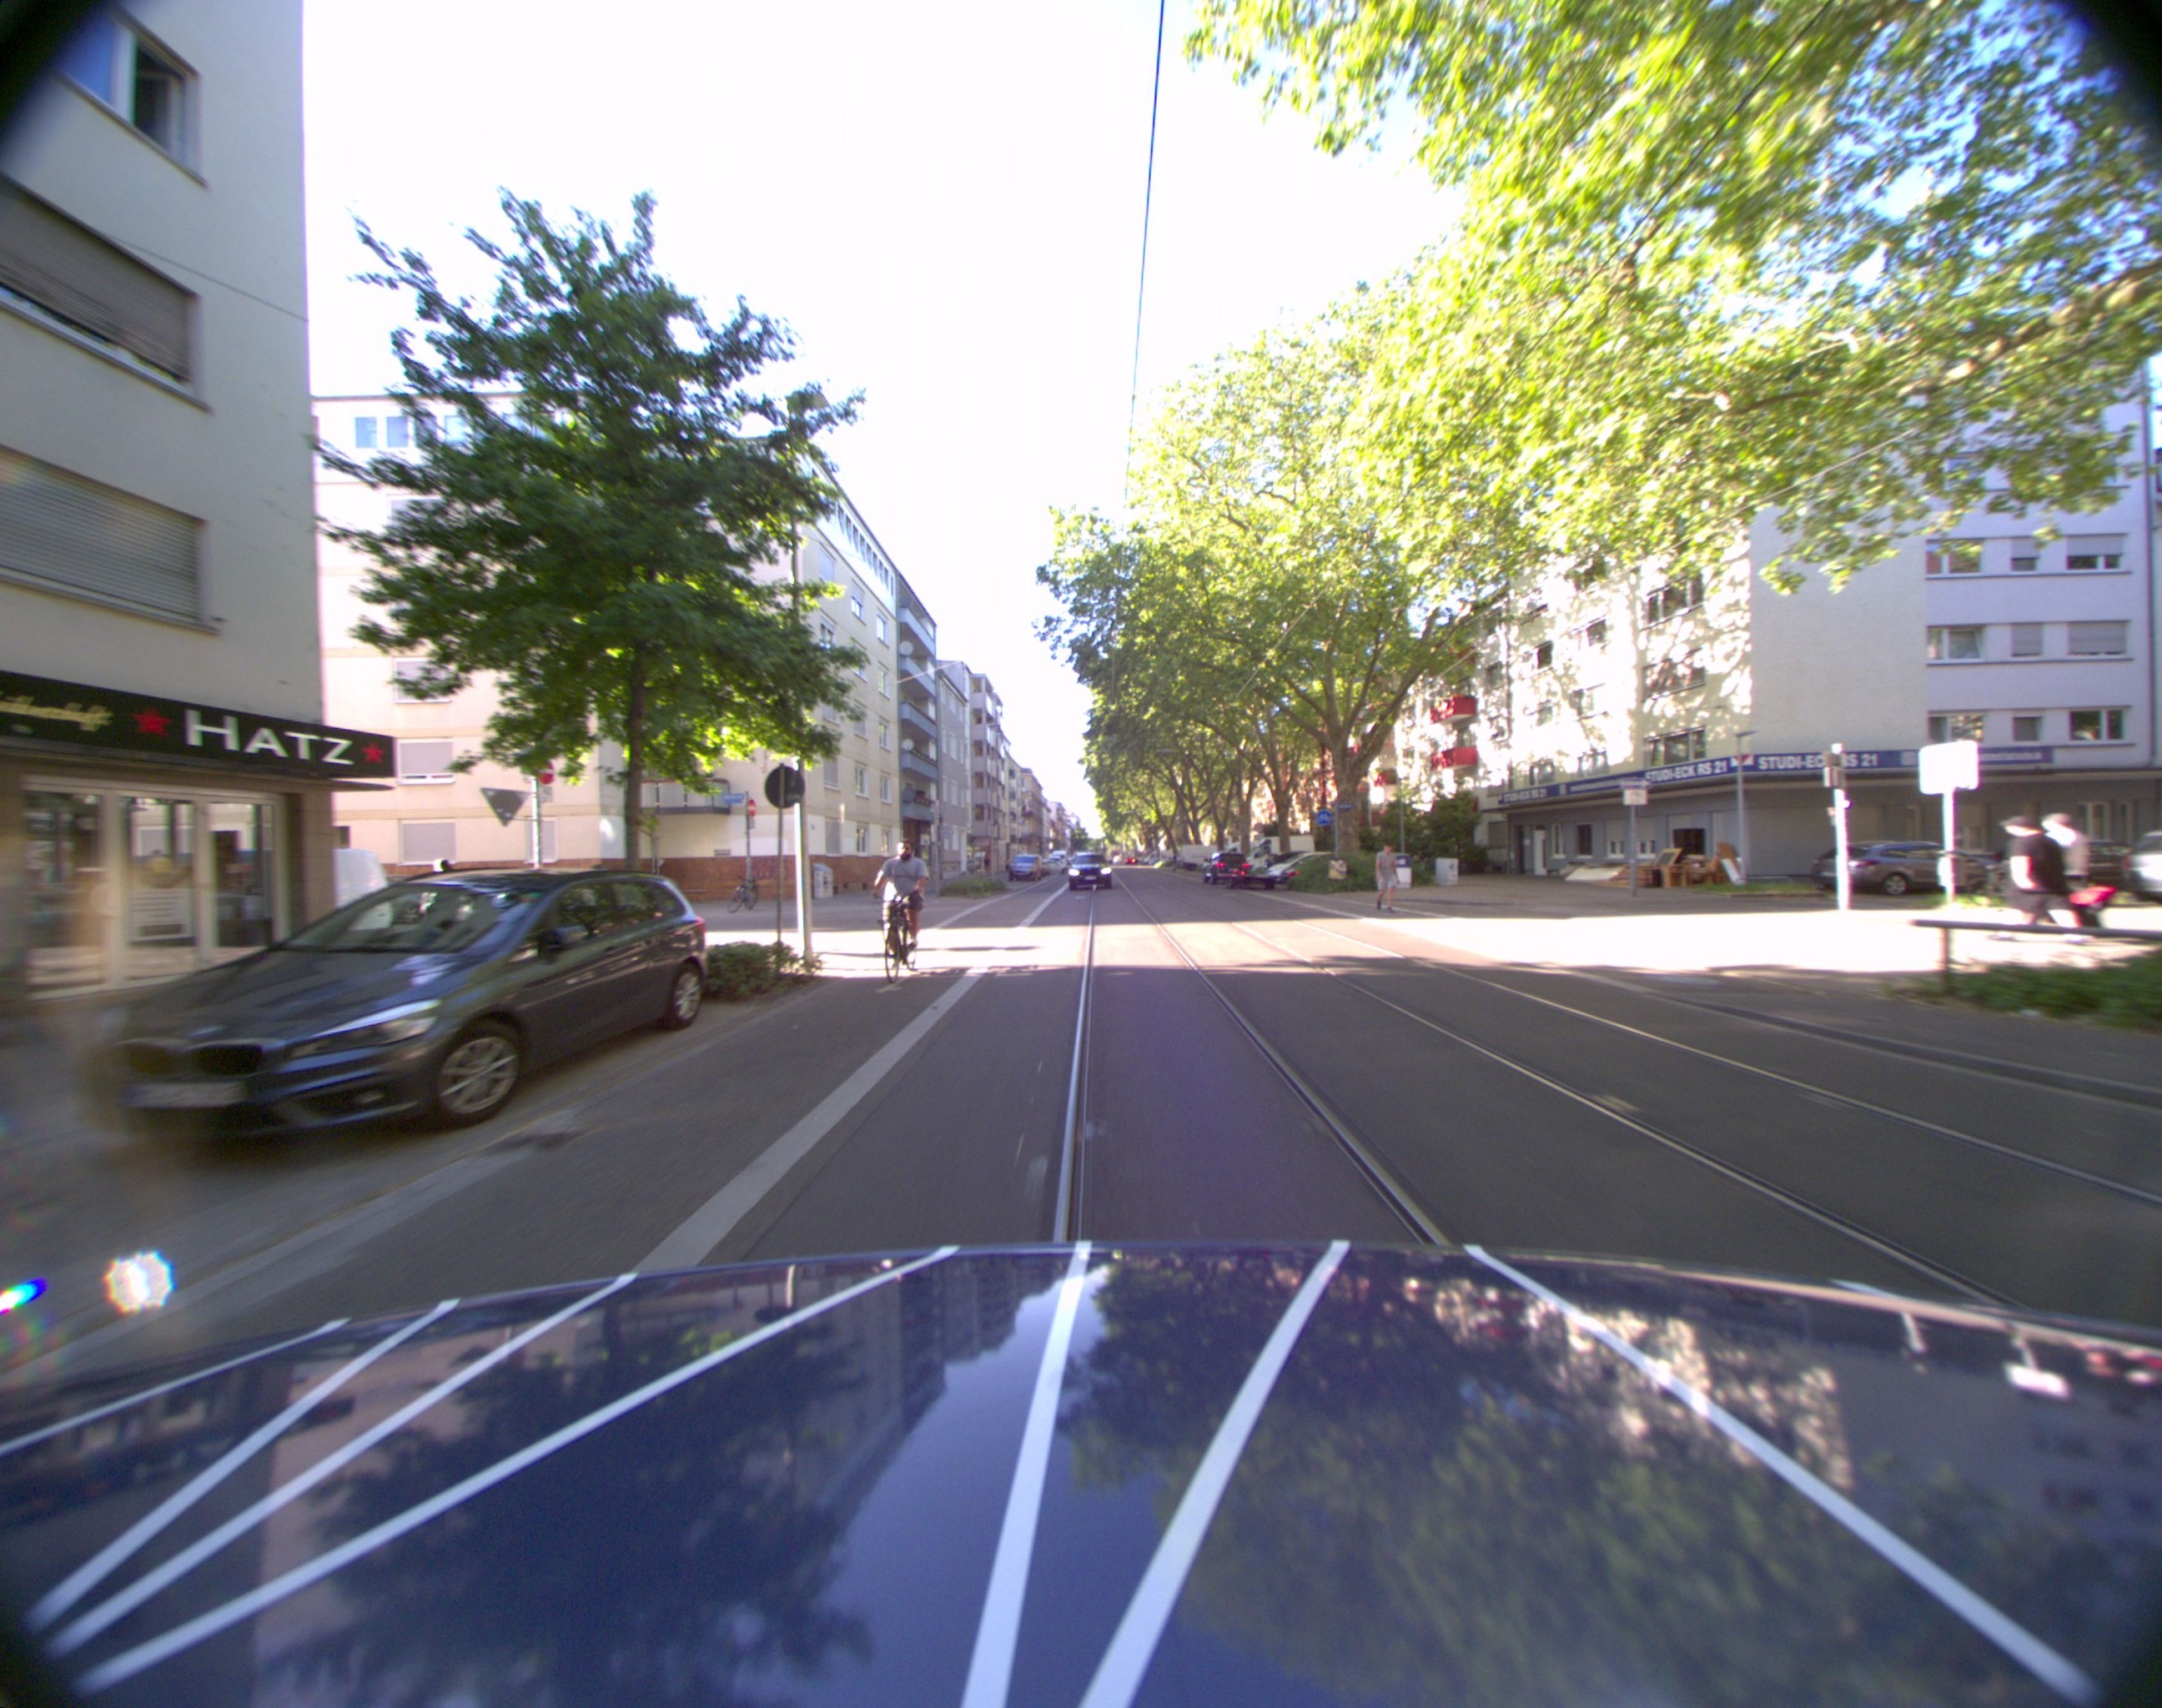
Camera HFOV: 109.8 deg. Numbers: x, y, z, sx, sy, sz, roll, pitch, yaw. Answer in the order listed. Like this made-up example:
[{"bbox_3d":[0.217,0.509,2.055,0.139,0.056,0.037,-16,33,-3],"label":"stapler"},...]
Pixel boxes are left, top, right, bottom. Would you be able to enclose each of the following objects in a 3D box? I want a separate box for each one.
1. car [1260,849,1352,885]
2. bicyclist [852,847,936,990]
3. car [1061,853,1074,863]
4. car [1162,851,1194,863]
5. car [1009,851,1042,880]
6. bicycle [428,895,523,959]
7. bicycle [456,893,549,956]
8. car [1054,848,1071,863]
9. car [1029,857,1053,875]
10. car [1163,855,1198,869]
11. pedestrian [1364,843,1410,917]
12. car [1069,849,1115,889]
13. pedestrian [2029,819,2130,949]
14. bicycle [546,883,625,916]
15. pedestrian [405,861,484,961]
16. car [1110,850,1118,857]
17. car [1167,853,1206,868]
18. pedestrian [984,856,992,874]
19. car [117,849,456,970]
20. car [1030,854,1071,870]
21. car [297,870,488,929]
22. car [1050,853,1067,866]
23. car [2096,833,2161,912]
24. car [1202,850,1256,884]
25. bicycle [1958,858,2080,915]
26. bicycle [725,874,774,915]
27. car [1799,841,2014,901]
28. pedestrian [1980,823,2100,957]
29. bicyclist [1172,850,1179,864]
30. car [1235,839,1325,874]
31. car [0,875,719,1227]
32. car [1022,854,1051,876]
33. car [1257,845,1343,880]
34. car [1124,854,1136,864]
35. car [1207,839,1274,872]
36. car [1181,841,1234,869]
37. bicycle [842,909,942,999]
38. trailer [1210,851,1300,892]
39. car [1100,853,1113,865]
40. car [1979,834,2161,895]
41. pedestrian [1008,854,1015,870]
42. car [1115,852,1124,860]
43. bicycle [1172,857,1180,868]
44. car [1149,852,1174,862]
[{"bbox_3d":[11.172,0.611,37.878,3.997,1.600,1.909,-2,1,-1],"label":"car"},{"bbox_3d":[-2.525,0.829,10.375,0.769,1.821,1.099,-3,1,2],"label":"bicyclist"},{"bbox_3d":[-2.255,0.671,125.059,1.867,1.499,4.000,-2,1,2],"label":"car"},{"bbox_3d":[13.134,0.446,102.960,3.997,1.458,2.000,-2,1,-1],"label":"car"},{"bbox_3d":[-3.969,0.770,54.952,1.958,1.914,4.000,-2,1,2],"label":"car"},{"bbox_3d":[-12.064,1.444,15.123,2.069,1.200,0.482,-2,1,22],"label":"bicycle"},{"bbox_3d":[-11.872,1.433,15.578,2.069,1.200,0.482,-2,1,22],"label":"bicycle"},{"bbox_3d":[-2.538,0.187,105.190,1.991,2.085,4.470,-2,1,2],"label":"car"},{"bbox_3d":[-3.700,1.073,70.598,1.867,1.499,4.000,-2,1,2],"label":"car"},{"bbox_3d":[12.161,0.971,92.777,3.997,1.458,2.000,-2,1,-1],"label":"car"},{"bbox_3d":[7.600,0.636,18.883,0.700,1.781,0.801,-2,1,-11],"label":"pedestrian"},{"bbox_3d":[0.551,0.670,35.861,1.998,1.723,4.399,-1,1,1],"label":"car"},{"bbox_3d":[14.160,0.401,10.803,0.668,1.770,0.725,-1,2,33],"label":"pedestrian"},{"bbox_3d":[-15.389,1.405,23.614,2.109,0.986,0.607,-1,1,5],"label":"bicycle"},{"bbox_3d":[-11.002,0.964,13.157,0.704,1.675,0.773,0,0,8],"label":"pedestrian"},{"bbox_3d":[9.018,-0.179,205.988,1.998,1.723,4.399,-2,1,1],"label":"car"},{"bbox_3d":[11.730,0.751,84.855,3.997,1.458,2.000,-2,1,-1],"label":"car"},{"bbox_3d":[-8.142,0.968,66.570,0.590,1.493,0.600,-2,1,1],"label":"pedestrian"},{"bbox_3d":[-13.447,0.892,13.021,3.996,1.787,1.786,-2,1,4],"label":"car"},{"bbox_3d":[-3.038,0.801,76.455,3.997,1.458,2.000,-2,1,-1],"label":"car"},{"bbox_3d":[-20.359,1.322,22.585,3.997,1.499,1.725,-2,1,-1],"label":"car"},{"bbox_3d":[-2.764,0.711,95.752,1.867,1.499,4.000,-2,1,2],"label":"car"},{"bbox_3d":[24.198,0.305,15.640,4.011,1.627,1.801,-2,-3,1],"label":"car"},{"bbox_3d":[7.677,0.642,39.748,1.928,1.674,4.181,1,1,-1],"label":"car"},{"bbox_3d":[19.075,0.646,15.469,1.867,1.056,0.656,-2,1,-7],"label":"bicycle"},{"bbox_3d":[-10.440,1.247,23.988,0.616,1.144,1.996,-1,1,1],"label":"bicycle"},{"bbox_3d":[23.574,0.450,21.832,4.152,1.469,1.834,-2,2,1],"label":"car"},{"bbox_3d":[13.173,0.477,10.460,0.740,1.747,0.735,-2,1,-6],"label":"pedestrian"},{"bbox_3d":[8.450,0.275,67.863,0.533,1.206,0.666,-2,1,2],"label":"bicyclist"},{"bbox_3d":[12.754,0.147,48.874,5.134,1.984,1.999,-2,1,-3],"label":"car"},{"bbox_3d":[-4.599,1.035,5.845,1.724,1.562,4.258,1,0,-2],"label":"car"},{"bbox_3d":[-3.760,0.887,64.664,1.998,1.674,4.000,-2,1,2],"label":"car"},{"bbox_3d":[11.640,0.439,40.559,3.997,1.635,2.000,-2,1,-1],"label":"car"},{"bbox_3d":[9.251,1.001,143.415,1.998,1.723,4.399,-2,1,1],"label":"car"},{"bbox_3d":[12.029,0.098,57.595,4.661,2.292,2.000,-2,1,1],"label":"car"},{"bbox_3d":[11.974,0.083,72.241,4.661,2.518,2.000,-2,1,1],"label":"car"},{"bbox_3d":[-2.506,1.305,10.347,0.790,0.932,1.939,-2,1,2],"label":"bicycle"},{"bbox_3d":[7.677,0.708,34.337,2.453,1.622,6.583,1,0,-1],"label":"trailer"},{"bbox_3d":[3.978,0.768,119.740,1.998,1.723,4.399,-2,1,1],"label":"car"},{"bbox_3d":[28.786,0.270,21.648,4.152,1.597,1.896,-1,1,1],"label":"car"},{"bbox_3d":[-7.675,0.887,83.844,0.697,1.685,0.678,-2,1,1],"label":"pedestrian"},{"bbox_3d":[8.998,0.497,177.200,1.998,1.723,4.399,-2,1,1],"label":"car"},{"bbox_3d":[8.469,0.753,67.915,0.533,0.901,1.557,-2,1,2],"label":"bicycle"},{"bbox_3d":[13.511,0.546,127.254,3.997,1.458,1.792,-2,1,-1],"label":"car"}]
